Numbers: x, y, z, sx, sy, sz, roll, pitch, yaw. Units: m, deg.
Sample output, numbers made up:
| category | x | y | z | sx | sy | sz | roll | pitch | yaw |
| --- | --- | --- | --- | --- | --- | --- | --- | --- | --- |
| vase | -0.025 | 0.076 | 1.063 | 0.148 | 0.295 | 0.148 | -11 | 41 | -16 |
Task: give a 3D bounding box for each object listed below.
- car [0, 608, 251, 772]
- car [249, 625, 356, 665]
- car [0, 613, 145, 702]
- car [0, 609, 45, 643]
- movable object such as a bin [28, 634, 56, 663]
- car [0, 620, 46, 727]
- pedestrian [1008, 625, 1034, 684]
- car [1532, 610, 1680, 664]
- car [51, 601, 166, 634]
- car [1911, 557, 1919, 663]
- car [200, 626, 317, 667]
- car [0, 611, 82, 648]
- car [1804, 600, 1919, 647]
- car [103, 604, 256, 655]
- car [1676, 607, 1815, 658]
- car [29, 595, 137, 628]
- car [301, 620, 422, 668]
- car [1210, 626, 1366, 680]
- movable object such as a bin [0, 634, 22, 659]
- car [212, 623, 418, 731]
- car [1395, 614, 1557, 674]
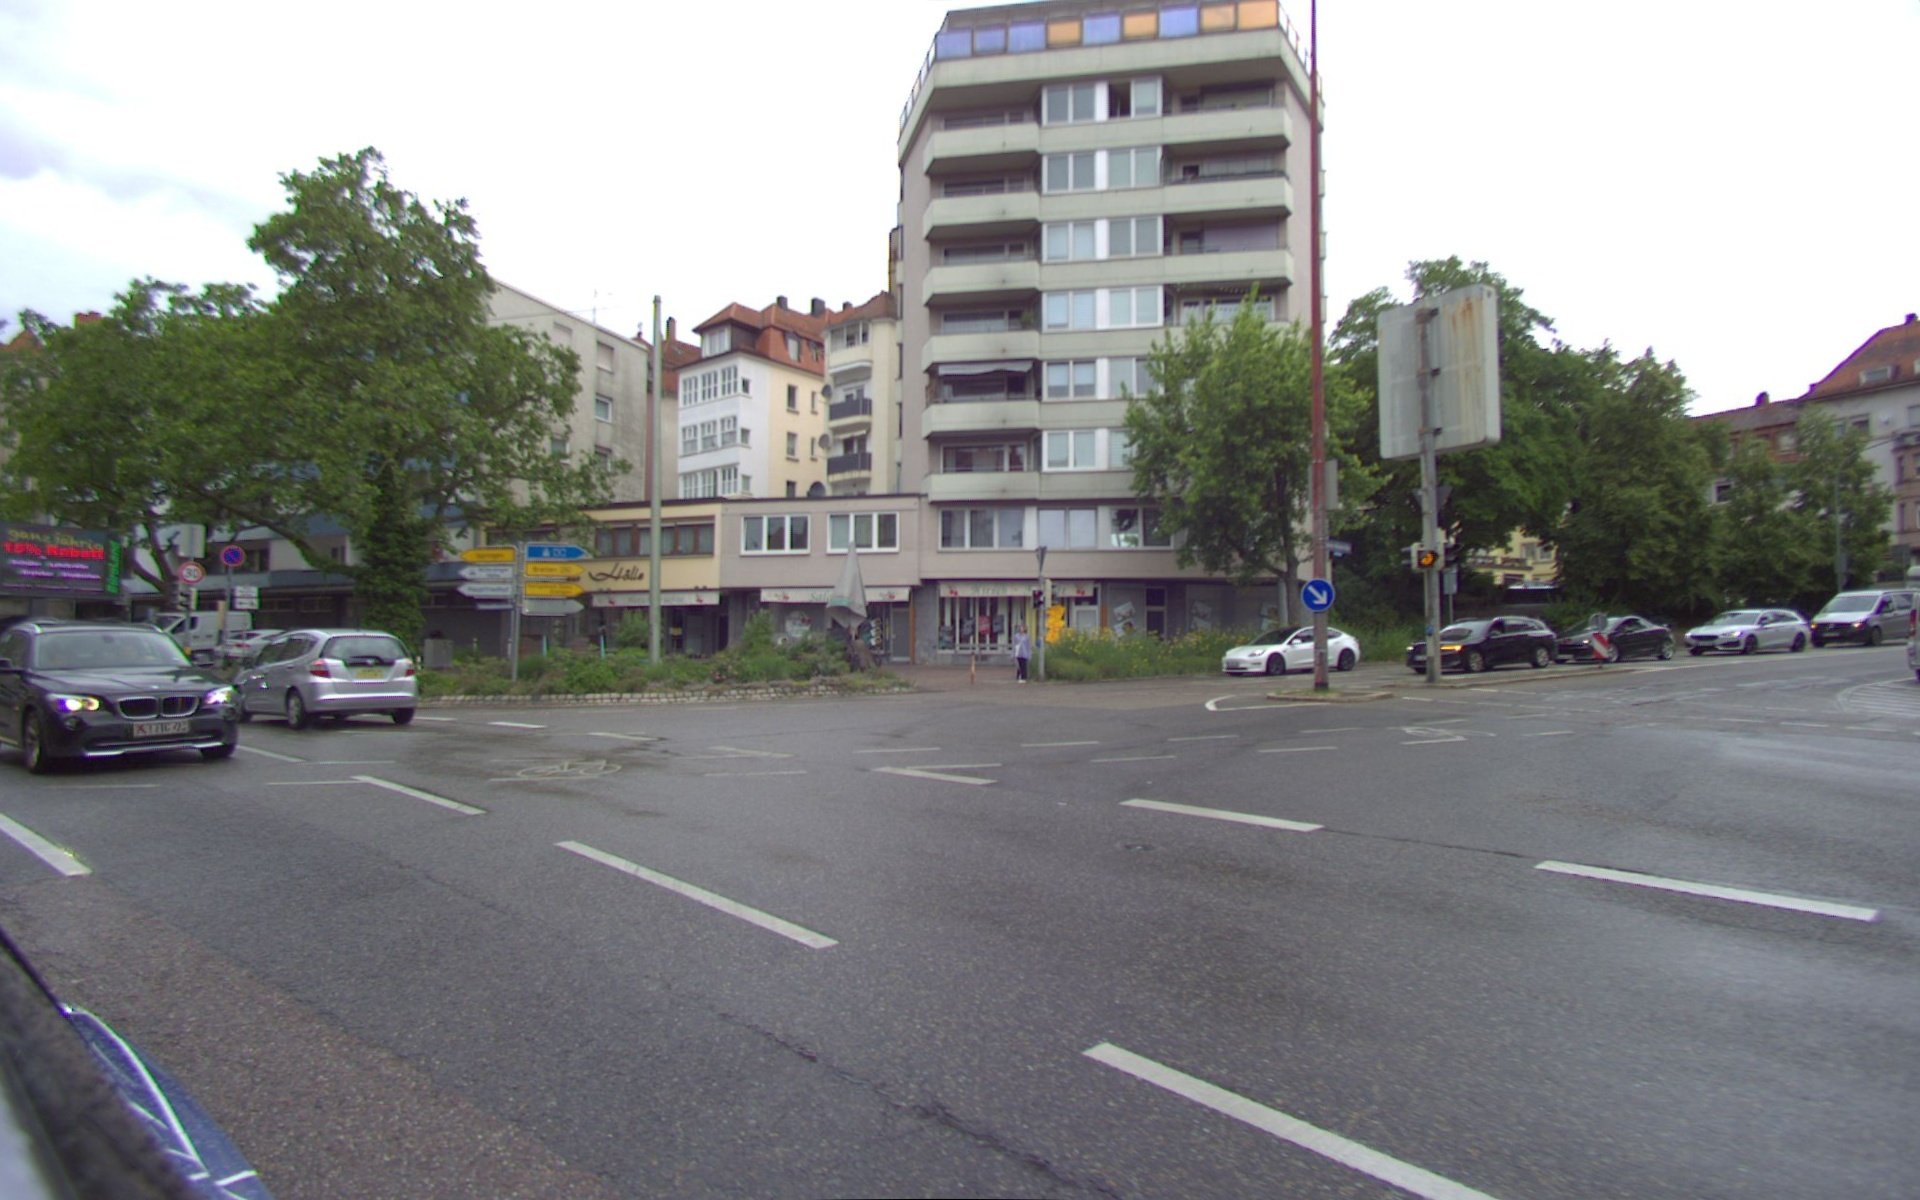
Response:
| category | x | y | z | sx | sy | sz | roll | pitch | yaw |
| --- | --- | --- | --- | --- | --- | --- | --- | --- | --- |
| car | -9.917 | 0.894 | 11.507 | 4.206 | 1.546 | 1.737 | -1 | -2 | 36 |
| car | -25.666 | 1.732 | 39.642 | 1.610 | 1.426 | 3.617 | 1 | 0 | 5 |
| car | -20.963 | 1.263 | 23.302 | 4.123 | 1.860 | 1.733 | 1 | -2 | 25 |
| car | -47.222 | 1.264 | 49.233 | 1.749 | 1.543 | 3.829 | 1 | 1 | 6 |
| movable object such as a bin | -35.060 | 1.859 | 38.655 | 0.625 | 1.088 | 0.637 | 1 | -1 | 32 |
| car | -15.381 | 1.049 | 15.126 | 4.173 | 1.494 | 1.736 | -1 | -2 | 37 |
| pedestrian | 1.782 | 1.580 | 29.643 | 0.610 | 1.706 | 0.626 | 0 | -1 | -12 |
| car | 19.019 | 1.073 | 29.801 | 3.954 | 1.503 | 1.772 | 0 | -3 | -25 |
| car | -39.305 | 0.814 | 46.814 | 1.675 | 1.416 | 3.820 | 1 | -1 | 13 |
| car | 22.274 | 0.207 | 21.192 | 4.721 | 2.185 | 2.006 | 0 | -1 | -28 |
| car | -27.821 | 1.811 | 40.273 | 1.792 | 1.426 | 3.695 | 1 | 0 | 9 |
| car | -44.210 | 1.381 | 47.570 | 1.792 | 1.605 | 4.298 | 1 | 0 | 10 |
| car | 31.823 | 0.808 | 35.558 | 4.082 | 1.549 | 1.744 | 1 | 0 | -25 |
| car | -32.430 | 1.176 | 42.256 | 1.862 | 1.992 | 4.954 | 1 | 0 | 14 |
| car | 25.290 | 1.040 | 32.563 | 4.227 | 1.549 | 1.744 | 0 | -3 | -25 |
| car | -41.134 | 0.498 | 47.580 | 1.659 | 1.416 | 3.832 | 1 | 1 | 3 |
| car | -22.822 | 1.647 | 38.794 | 1.917 | 1.655 | 4.210 | 1 | 0 | 5 |
| car | 9.931 | 1.551 | 30.631 | 4.317 | 1.503 | 1.920 | 0 | -1 | -25 |
| movable object such as a bin | -35.786 | 1.761 | 38.164 | 0.544 | 0.908 | 0.480 | 1 | -1 | 32 |
| car | -10.419 | 1.138 | 16.251 | 3.865 | 1.530 | 1.609 | -1 | -2 | 38 |
| car | 13.858 | 1.153 | 27.169 | 3.954 | 1.503 | 1.772 | 0 | -3 | -25 |
